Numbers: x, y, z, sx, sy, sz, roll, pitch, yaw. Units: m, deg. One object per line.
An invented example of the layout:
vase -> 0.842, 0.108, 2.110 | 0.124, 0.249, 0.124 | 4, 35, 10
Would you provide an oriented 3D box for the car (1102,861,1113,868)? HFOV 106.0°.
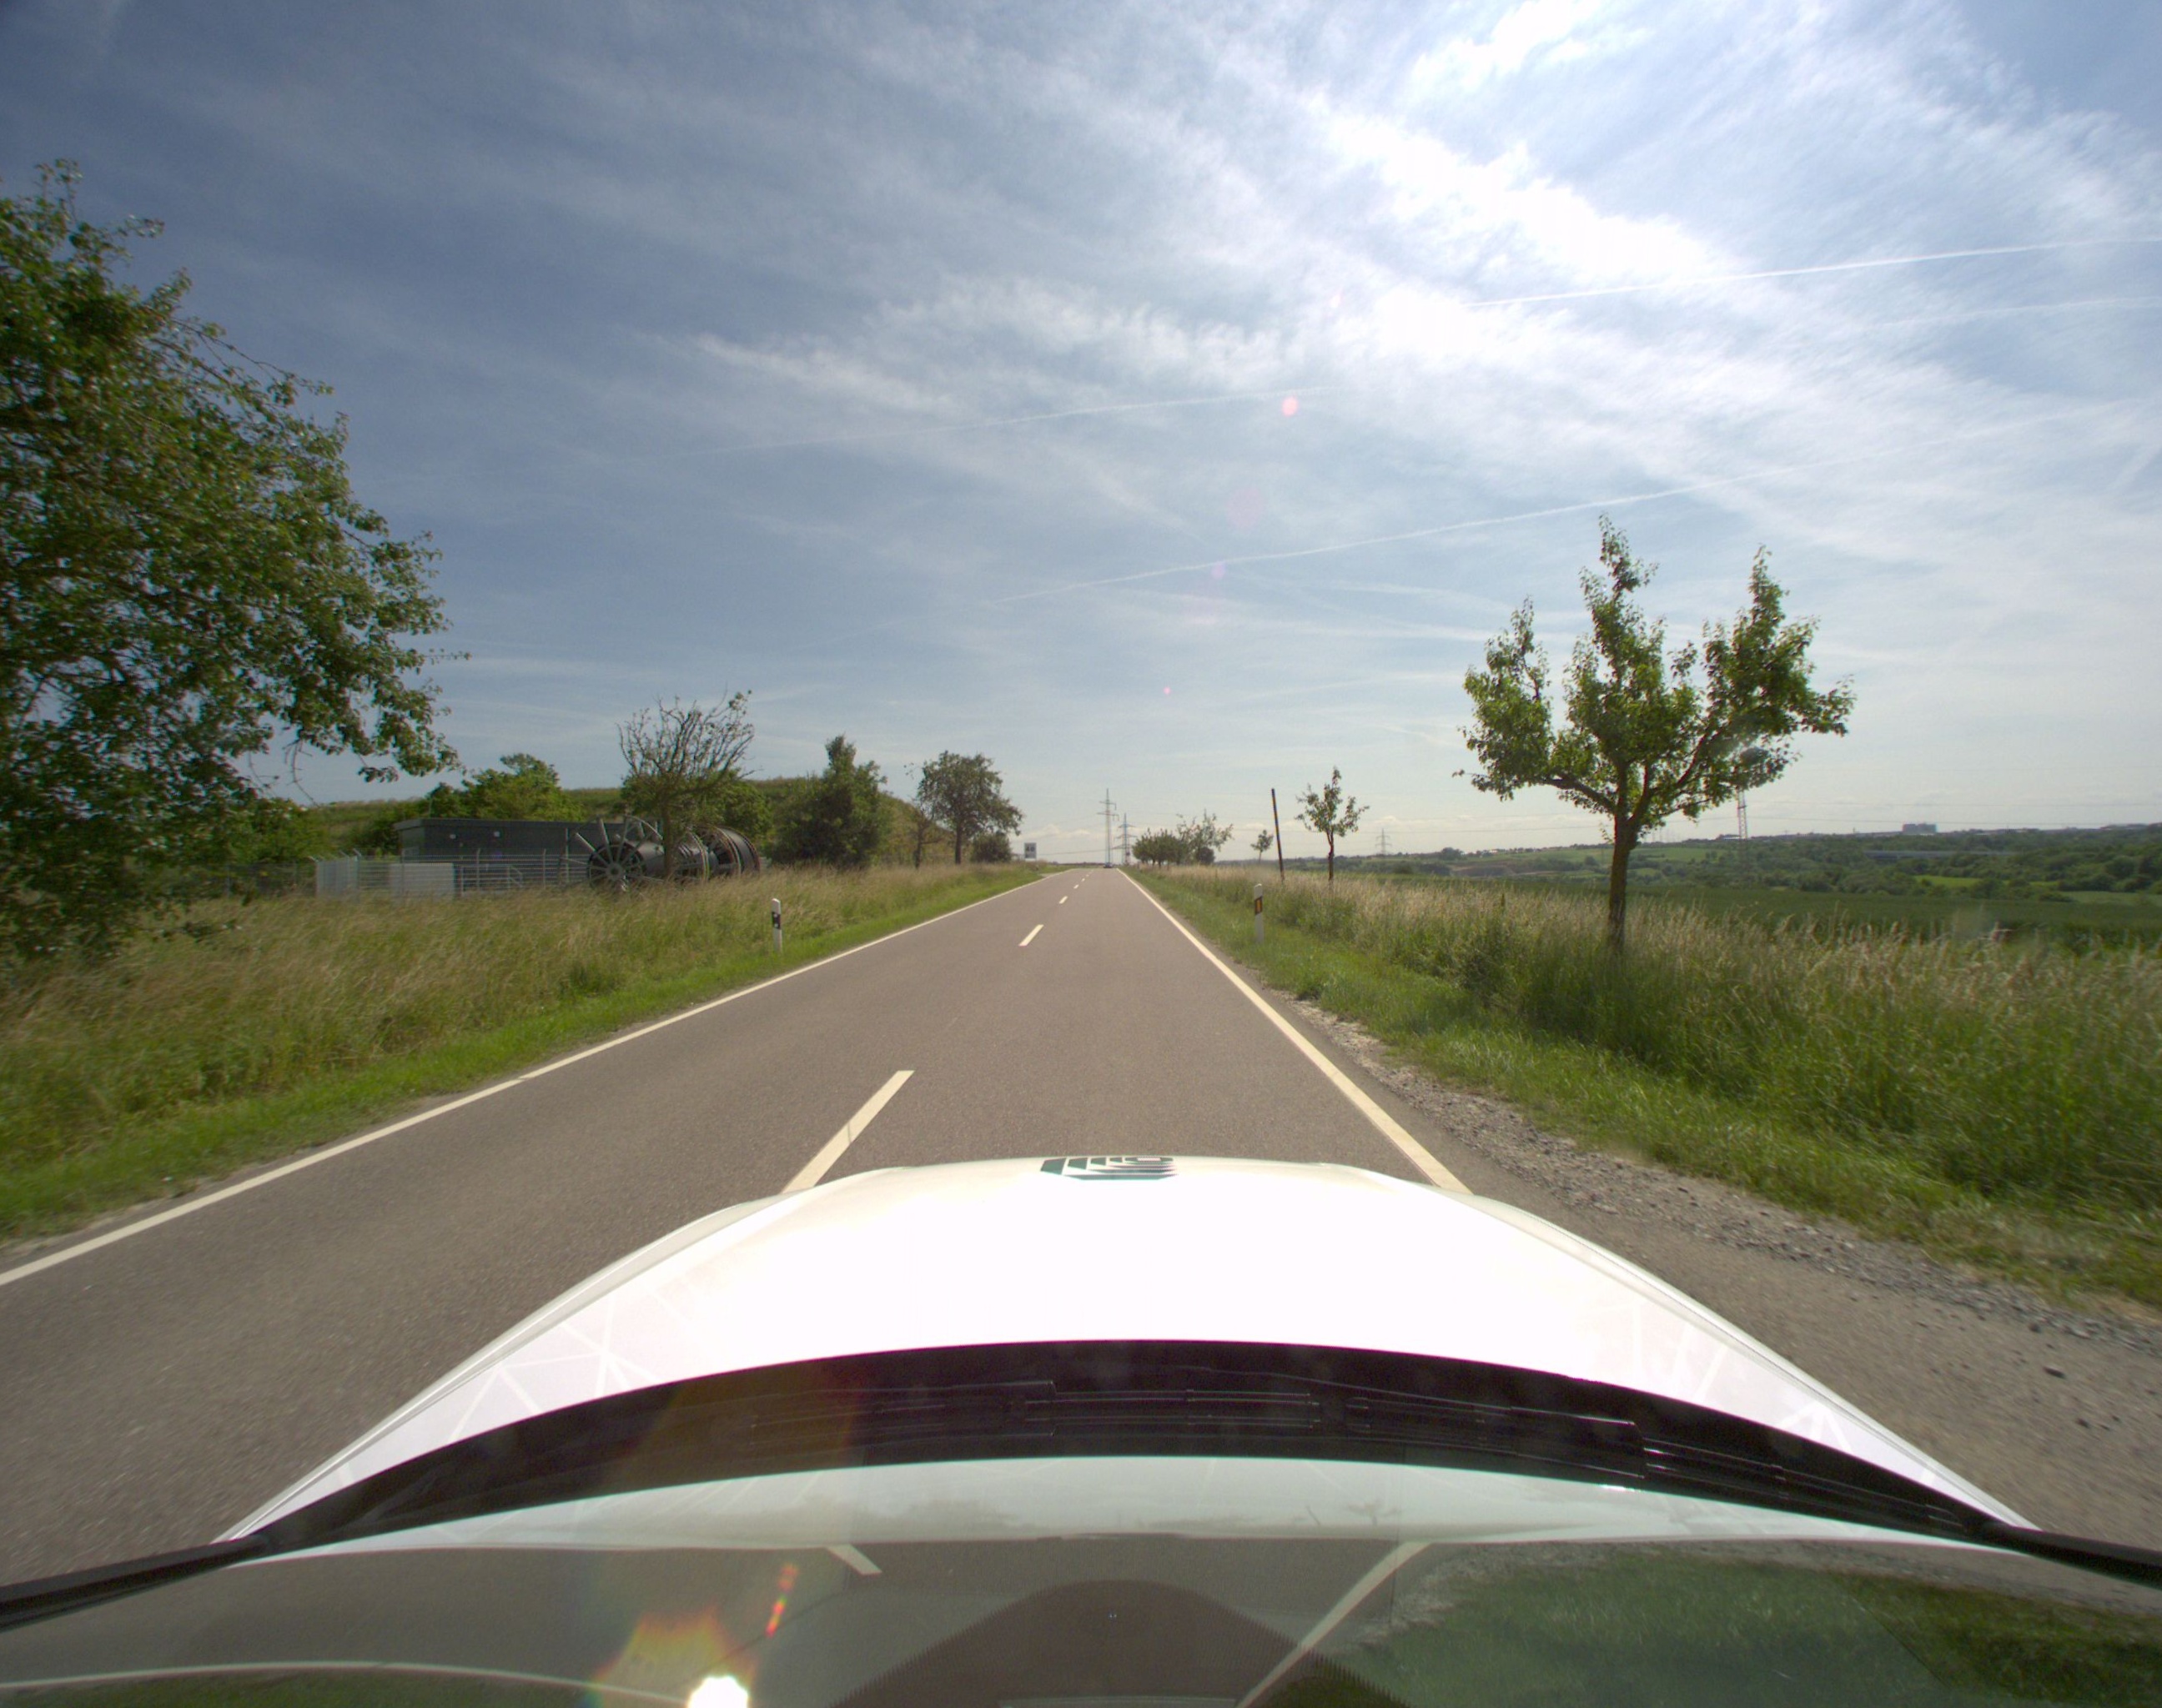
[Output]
car -> 5.545, 2.242, 170.226 | 1.813, 1.410, 4.008 | -1, 0, 7
